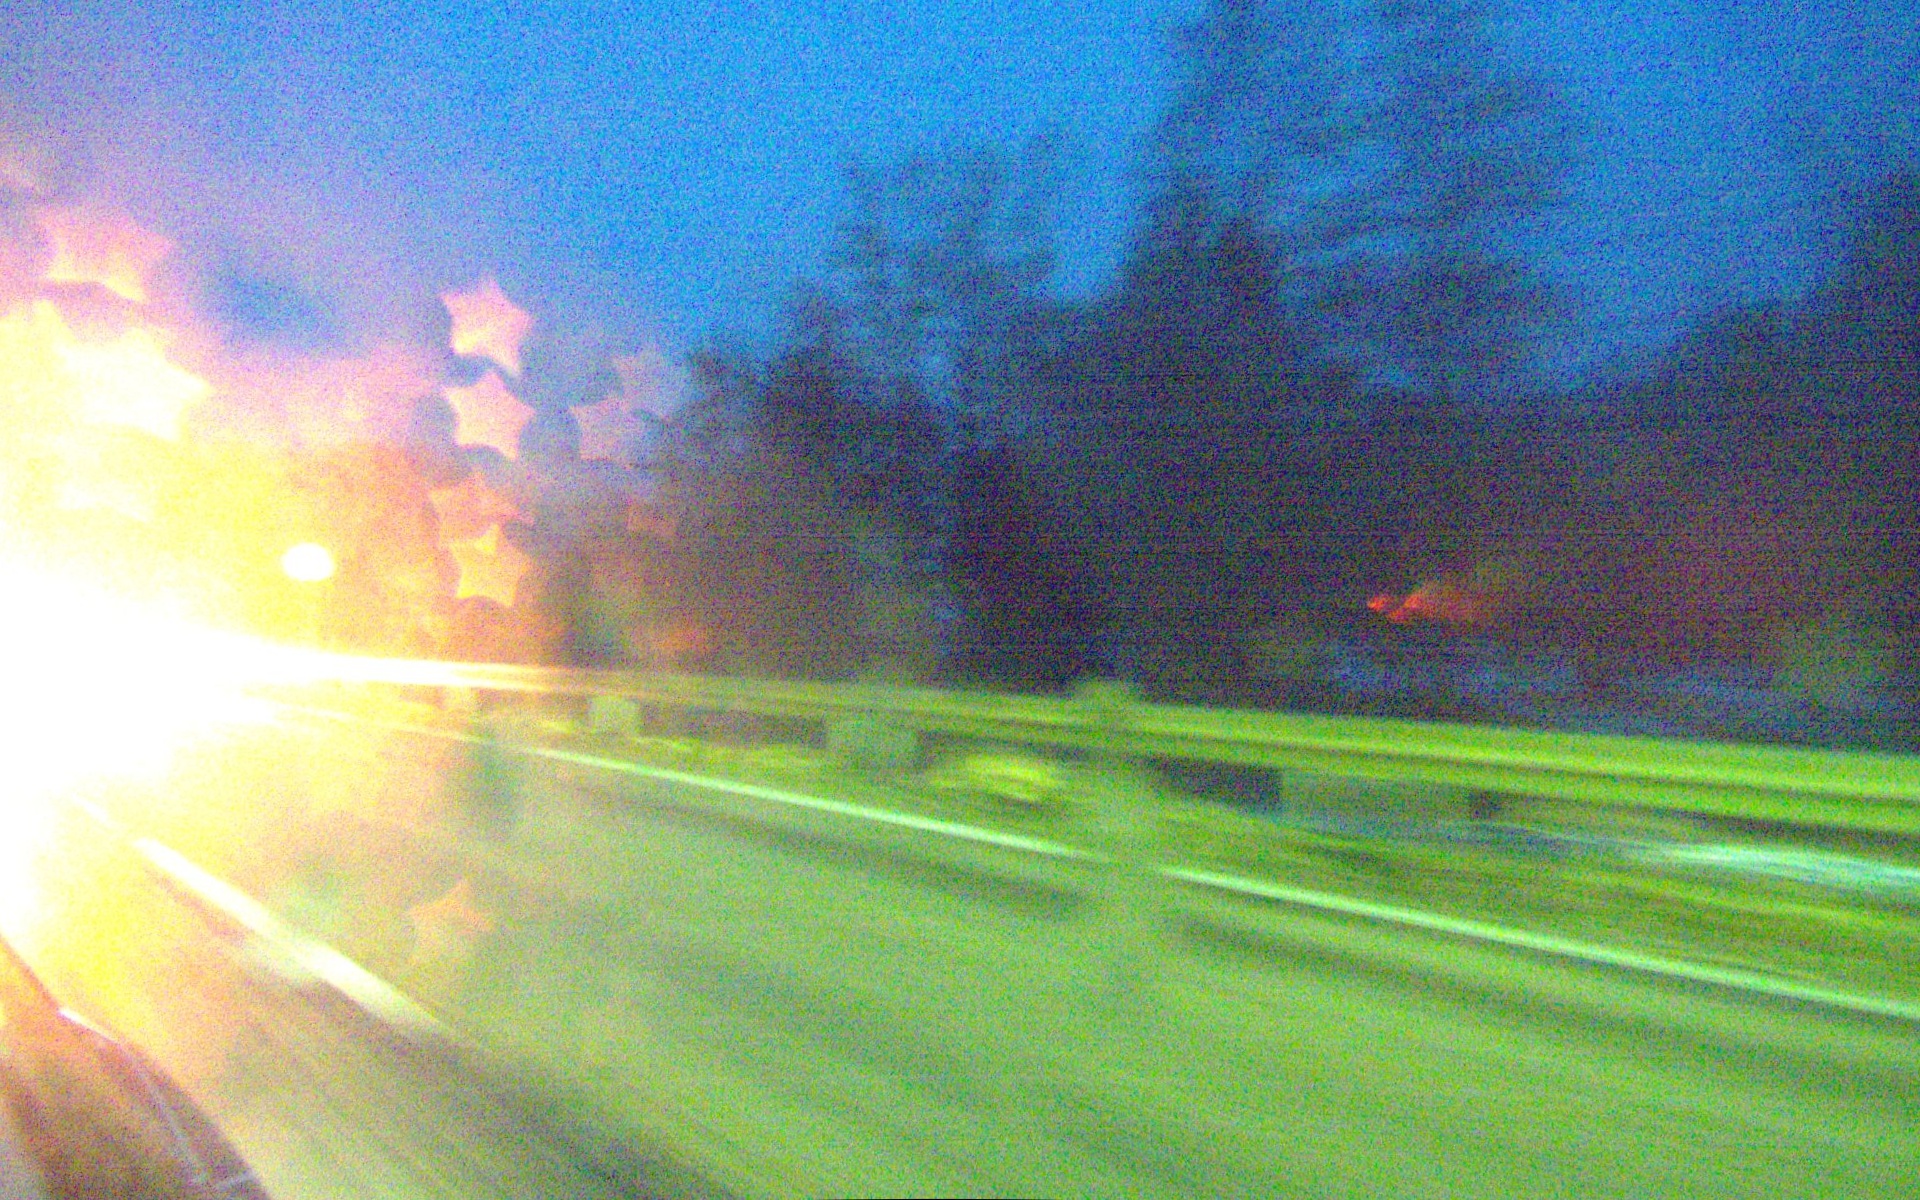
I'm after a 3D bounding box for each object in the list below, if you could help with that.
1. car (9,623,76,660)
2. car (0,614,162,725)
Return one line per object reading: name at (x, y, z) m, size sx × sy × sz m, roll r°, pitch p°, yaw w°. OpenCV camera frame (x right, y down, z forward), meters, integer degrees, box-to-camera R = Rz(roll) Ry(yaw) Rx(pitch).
car at (-42.032, 1.876, 46.330) m, size 4.439 × 1.566 × 1.811 m, roll -2°, pitch -1°, yaw 41°
car at (-14.506, 1.047, 16.466) m, size 3.998 × 1.566 × 1.698 m, roll -2°, pitch -1°, yaw 41°
